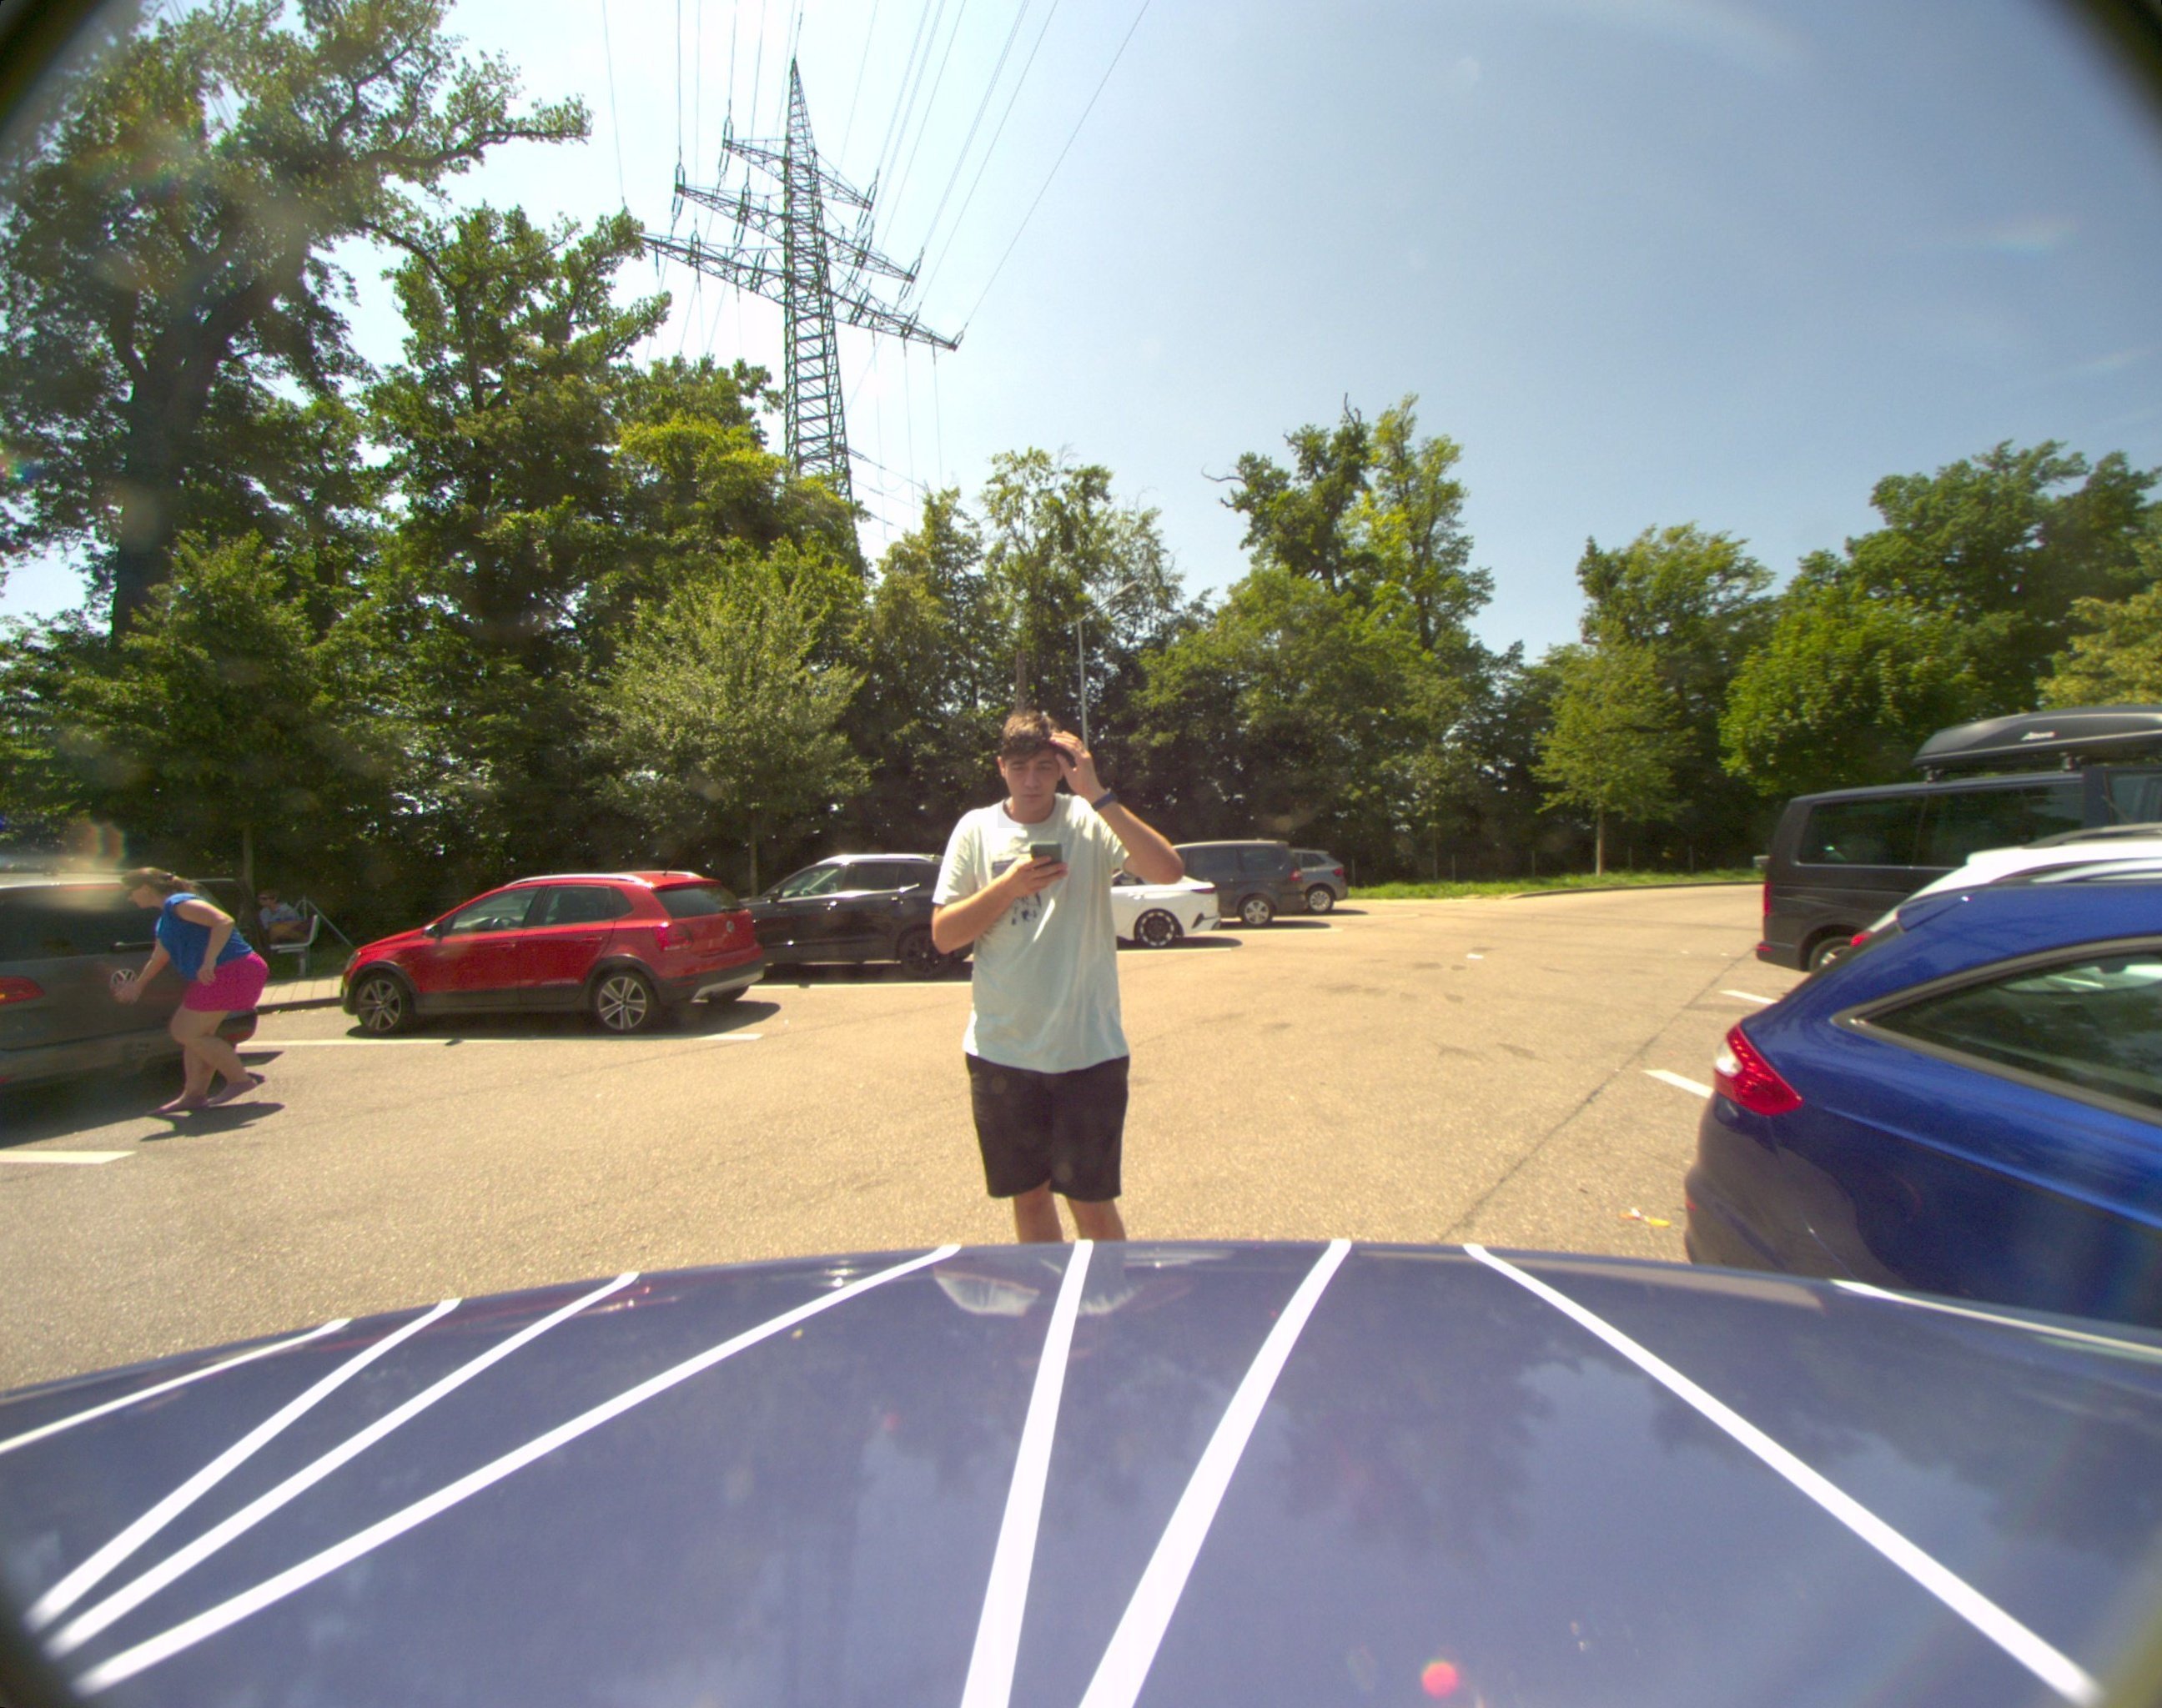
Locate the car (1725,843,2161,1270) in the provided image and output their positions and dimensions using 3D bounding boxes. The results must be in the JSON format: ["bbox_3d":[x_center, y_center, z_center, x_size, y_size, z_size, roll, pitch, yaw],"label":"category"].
[{"bbox_3d":[4.853,0.728,2.282,1.741,1.524,4.642,-3,-1,-2],"label":"car"}]

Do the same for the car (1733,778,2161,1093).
[{"bbox_3d":[7.301,0.440,4.911,1.961,1.858,4.642,-3,-1,-3],"label":"car"}]

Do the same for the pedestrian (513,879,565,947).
[{"bbox_3d":[-10.925,1.168,15.311,0.782,1.287,0.670,-1,2,45],"label":"pedestrian"}]

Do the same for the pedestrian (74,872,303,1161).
[{"bbox_3d":[-5.855,0.977,5.002,0.917,1.672,0.735,-2,1,29],"label":"pedestrian"}]

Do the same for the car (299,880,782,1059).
[{"bbox_3d":[-5.259,1.070,7.649,3.785,1.457,1.722,-1,1,9],"label":"car"}]

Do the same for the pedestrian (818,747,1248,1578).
[{"bbox_3d":[-0.109,0.690,2.016,0.890,1.831,0.621,-2,1,-2],"label":"pedestrian"}]

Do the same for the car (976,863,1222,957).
[{"bbox_3d":[0.345,0.903,12.725,3.819,1.377,1.722,-1,1,6],"label":"car"}]

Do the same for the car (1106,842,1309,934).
[{"bbox_3d":[2.568,0.670,15.450,3.818,1.714,1.722,-1,1,12],"label":"car"}]

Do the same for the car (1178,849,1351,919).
[{"bbox_3d":[4.320,0.692,18.153,3.818,1.530,1.722,-1,1,12],"label":"car"}]

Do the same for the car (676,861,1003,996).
[{"bbox_3d":[-3.086,0.940,10.259,3.787,1.564,1.721,-1,1,2],"label":"car"}]

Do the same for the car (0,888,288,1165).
[{"bbox_3d":[-8.311,1.111,5.439,3.985,1.572,1.749,-1,1,12],"label":"car"}]

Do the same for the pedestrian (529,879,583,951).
[{"bbox_3d":[-10.026,1.142,14.506,0.782,1.287,0.670,-1,2,45],"label":"pedestrian"}]
